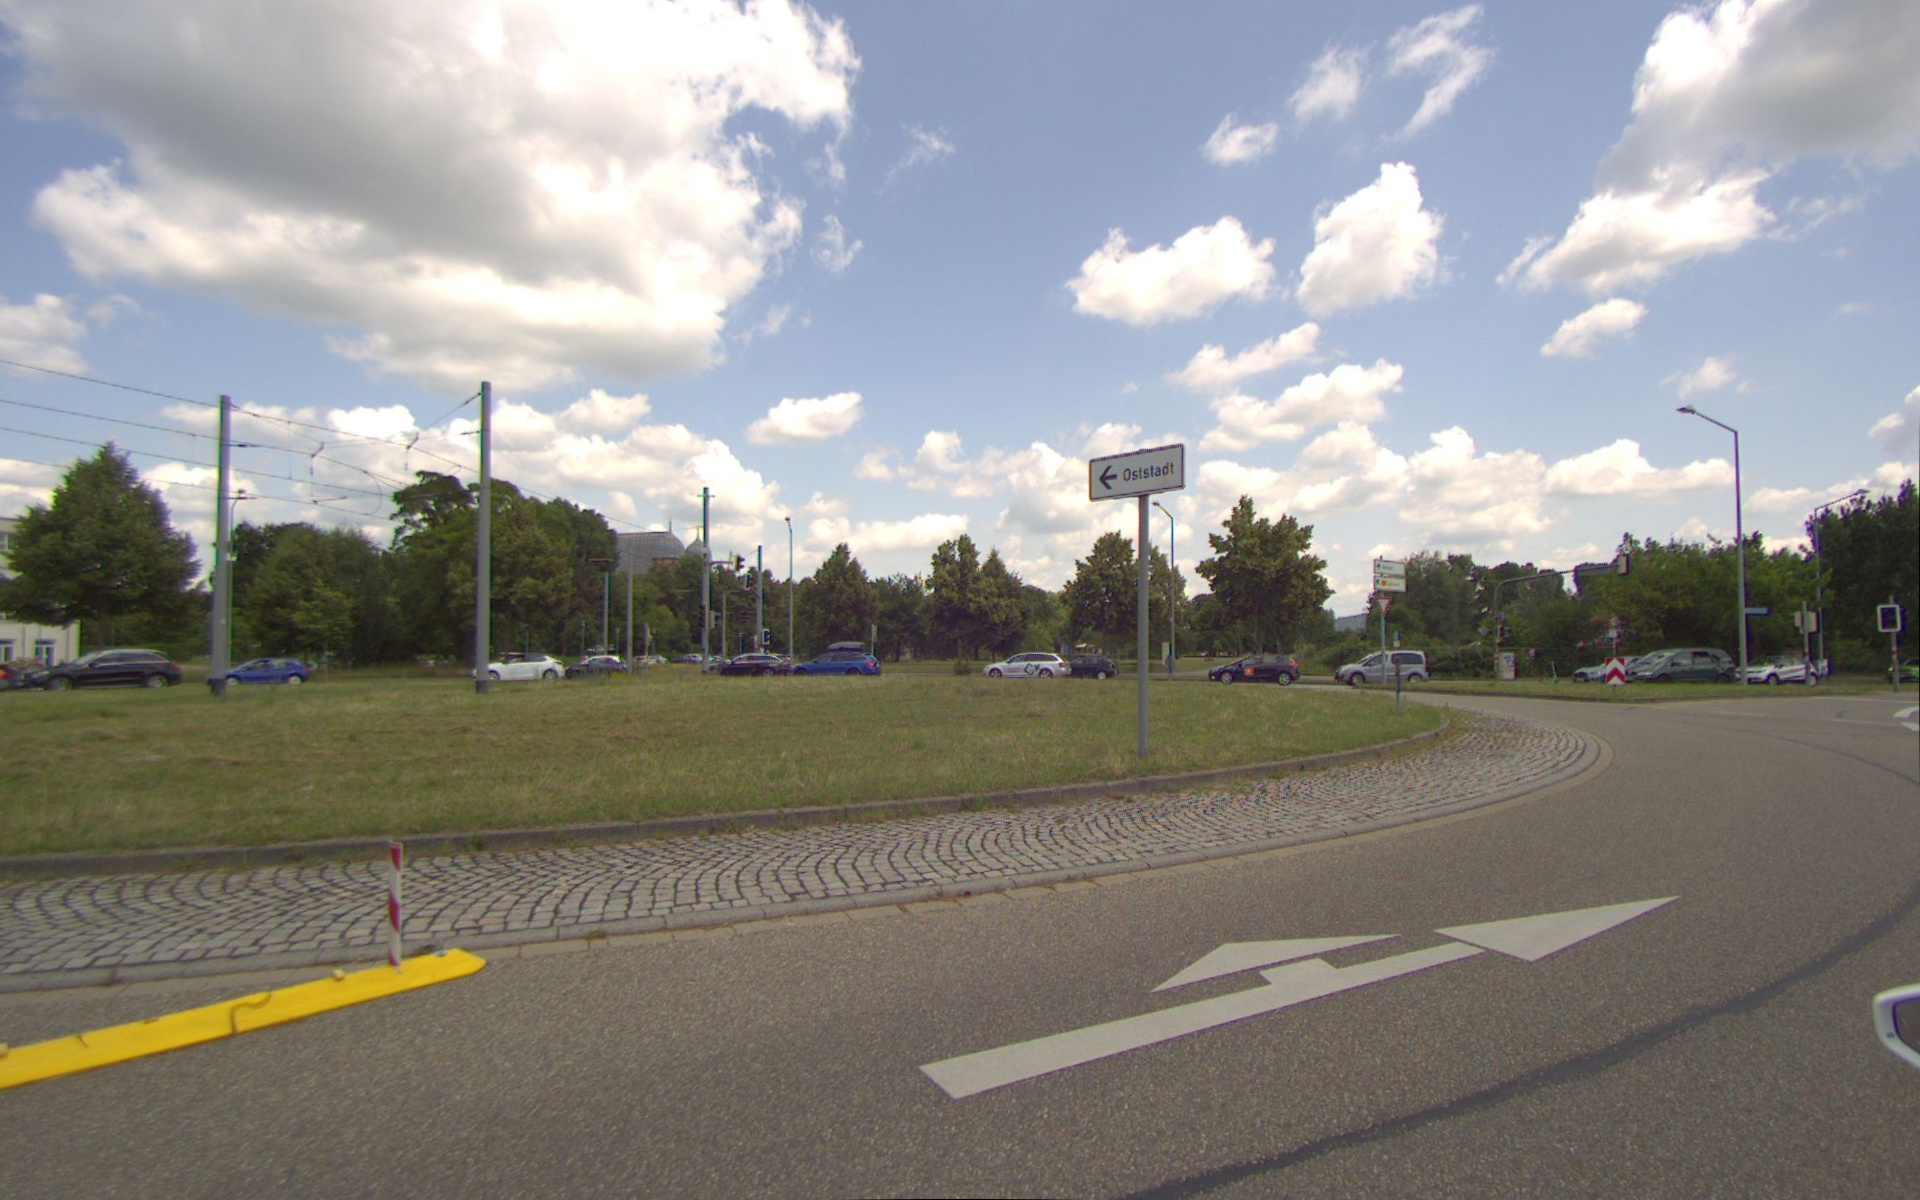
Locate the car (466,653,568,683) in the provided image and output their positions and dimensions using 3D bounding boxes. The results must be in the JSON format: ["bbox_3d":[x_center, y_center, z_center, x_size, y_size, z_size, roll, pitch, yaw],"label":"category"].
[{"bbox_3d":[-20.923,3.203,47.658,4.246,1.347,1.991,0,-3,-20],"label":"car"}]

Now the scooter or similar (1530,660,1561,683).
[{"bbox_3d":[30.811,3.779,52.875,1.415,1.181,0.541,0,-2,-12],"label":"scooter or similar"}]

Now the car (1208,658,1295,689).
[{"bbox_3d":[13.903,3.515,48.084,3.899,1.357,1.805,-2,-4,14],"label":"car"}]

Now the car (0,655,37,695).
[{"bbox_3d":[-44.060,3.324,44.018,4.875,1.648,2.054,1,-1,-25],"label":"car"}]

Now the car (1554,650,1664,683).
[{"bbox_3d":[30.154,3.076,46.703,4.116,1.441,1.909,0,-3,-11],"label":"car"}]

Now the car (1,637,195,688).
[{"bbox_3d":[-31.465,2.234,36.822,1.967,1.696,5.056,-2,-3,34],"label":"car"}]

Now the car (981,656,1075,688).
[{"bbox_3d":[3.497,3.668,51.350,4.418,1.541,2.125,-1,-2,18],"label":"car"}]

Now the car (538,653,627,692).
[{"bbox_3d":[-21.304,4.063,56.890,4.653,2.040,1.992,0,-2,-20],"label":"car"}]

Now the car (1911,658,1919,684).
[{"bbox_3d":[50.225,3.520,50.028,4.705,1.327,1.840,1,-5,-13],"label":"car"}]

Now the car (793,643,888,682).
[{"bbox_3d":[-5.882,3.071,49.539,4.318,1.822,1.757,-1,-2,10],"label":"car"}]

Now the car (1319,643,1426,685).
[{"bbox_3d":[20.602,3.172,50.412,4.691,2.040,2.002,-1,-3,14],"label":"car"}]

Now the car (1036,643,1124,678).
[{"bbox_3d":[6.643,3.331,55.475,4.569,1.844,2.127,-1,-2,16],"label":"car"}]

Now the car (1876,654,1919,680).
[{"bbox_3d":[51.436,3.593,53.722,4.101,1.365,1.617,1,-5,-15],"label":"car"}]

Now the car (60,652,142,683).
[{"bbox_3d":[-59.209,4.610,69.340,1.959,2.040,4.003,-1,-2,8],"label":"car"}]

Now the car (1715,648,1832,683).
[{"bbox_3d":[41.167,3.299,50.884,4.701,1.708,1.997,0,-3,-10],"label":"car"}]

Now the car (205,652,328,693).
[{"bbox_3d":[-33.638,3.479,48.783,4.693,1.814,1.825,2,-3,-44],"label":"car"}]

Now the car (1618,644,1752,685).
[{"bbox_3d":[29.937,2.652,41.545,4.511,1.613,1.911,1,-3,-11],"label":"car"}]

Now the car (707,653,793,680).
[{"bbox_3d":[-11.496,3.630,55.138,4.405,1.340,1.953,0,-2,-5],"label":"car"}]
